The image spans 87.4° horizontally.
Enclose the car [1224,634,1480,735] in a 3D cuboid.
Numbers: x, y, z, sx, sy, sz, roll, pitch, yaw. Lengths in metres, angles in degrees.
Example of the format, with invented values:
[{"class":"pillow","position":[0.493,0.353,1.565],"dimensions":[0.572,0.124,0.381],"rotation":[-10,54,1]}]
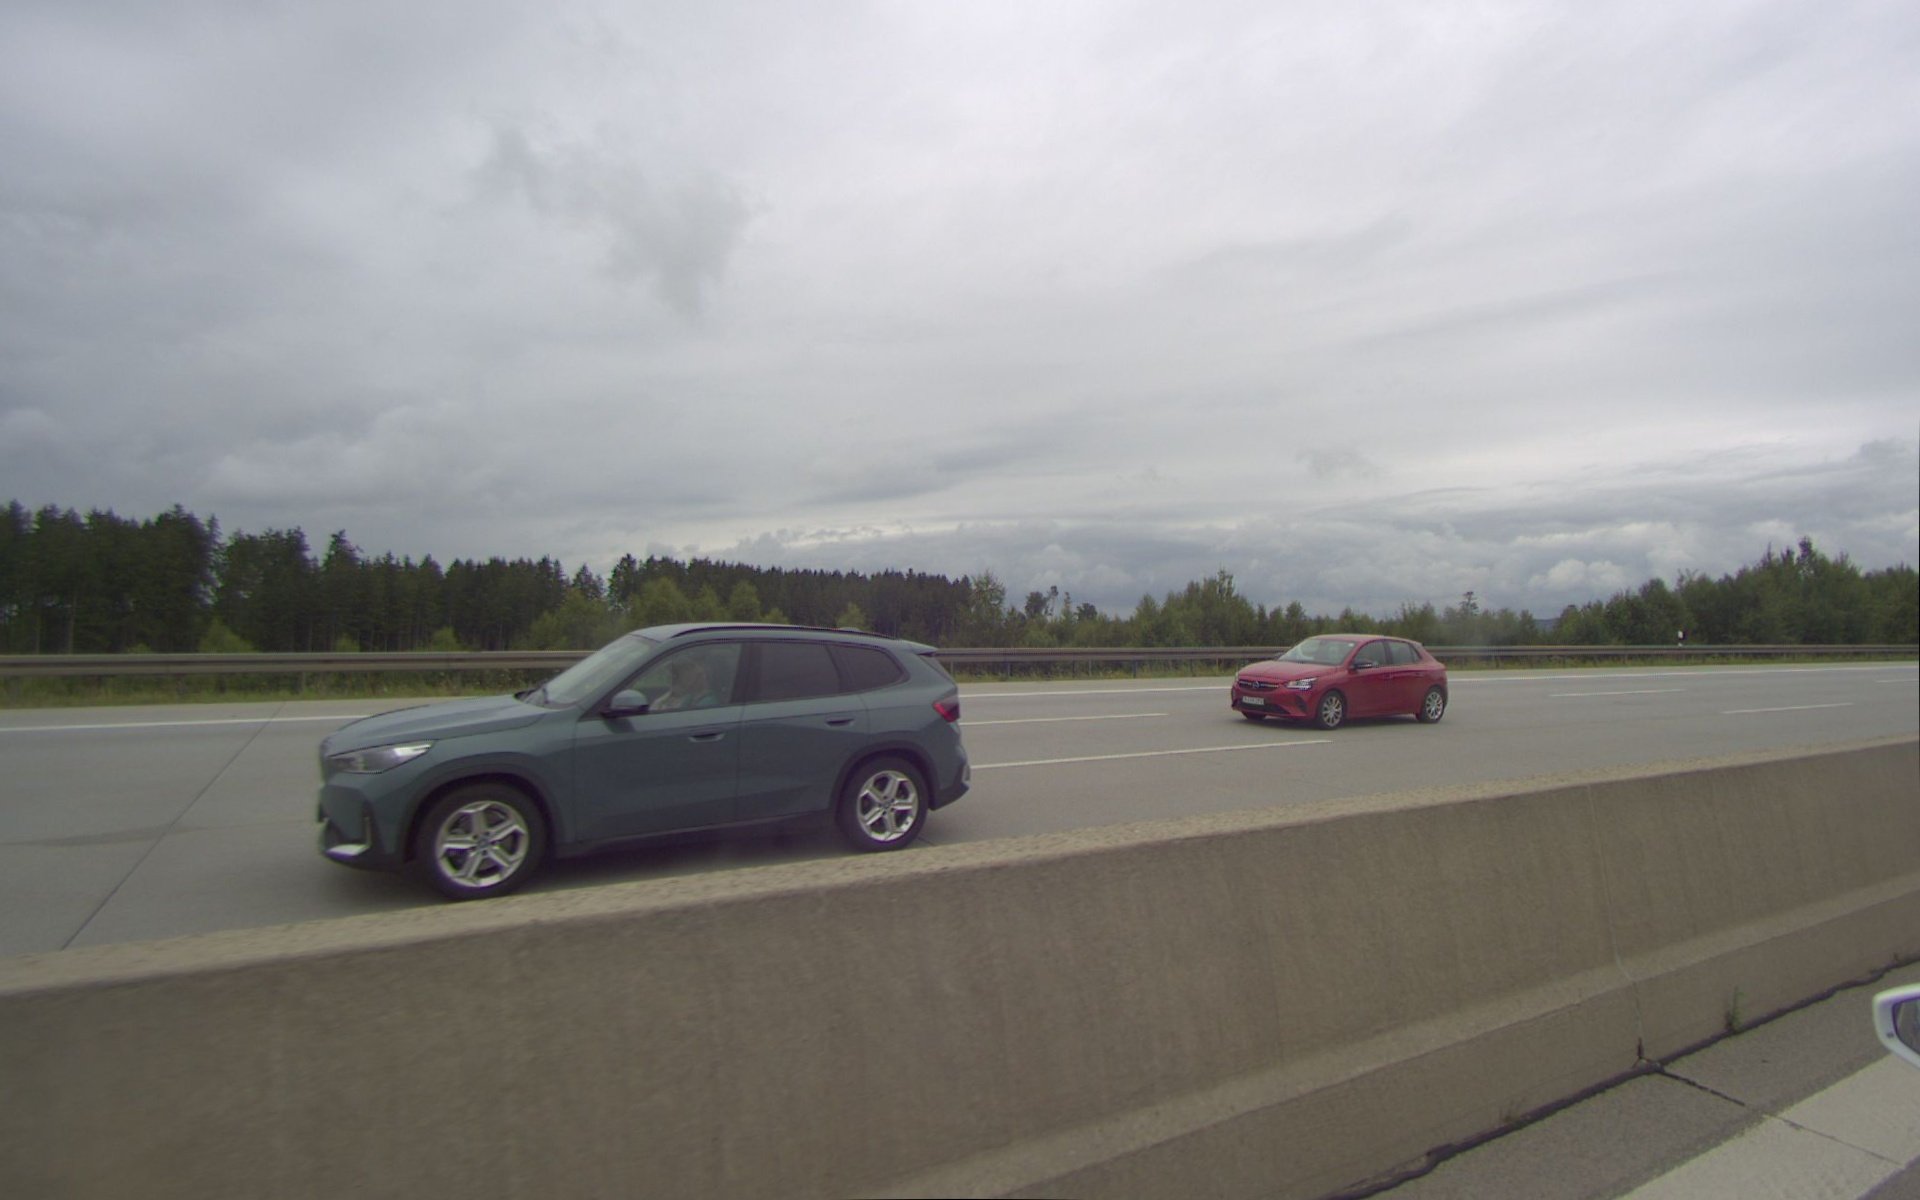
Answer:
[{"class":"car","position":[6.515,1.312,16.528],"dimensions":[4.435,1.411,1.511],"rotation":[2,0,-31]}]

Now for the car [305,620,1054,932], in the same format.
[{"class":"car","position":[-1.803,0.975,7.351],"dimensions":[4.913,1.609,1.713],"rotation":[0,-1,-31]}]
